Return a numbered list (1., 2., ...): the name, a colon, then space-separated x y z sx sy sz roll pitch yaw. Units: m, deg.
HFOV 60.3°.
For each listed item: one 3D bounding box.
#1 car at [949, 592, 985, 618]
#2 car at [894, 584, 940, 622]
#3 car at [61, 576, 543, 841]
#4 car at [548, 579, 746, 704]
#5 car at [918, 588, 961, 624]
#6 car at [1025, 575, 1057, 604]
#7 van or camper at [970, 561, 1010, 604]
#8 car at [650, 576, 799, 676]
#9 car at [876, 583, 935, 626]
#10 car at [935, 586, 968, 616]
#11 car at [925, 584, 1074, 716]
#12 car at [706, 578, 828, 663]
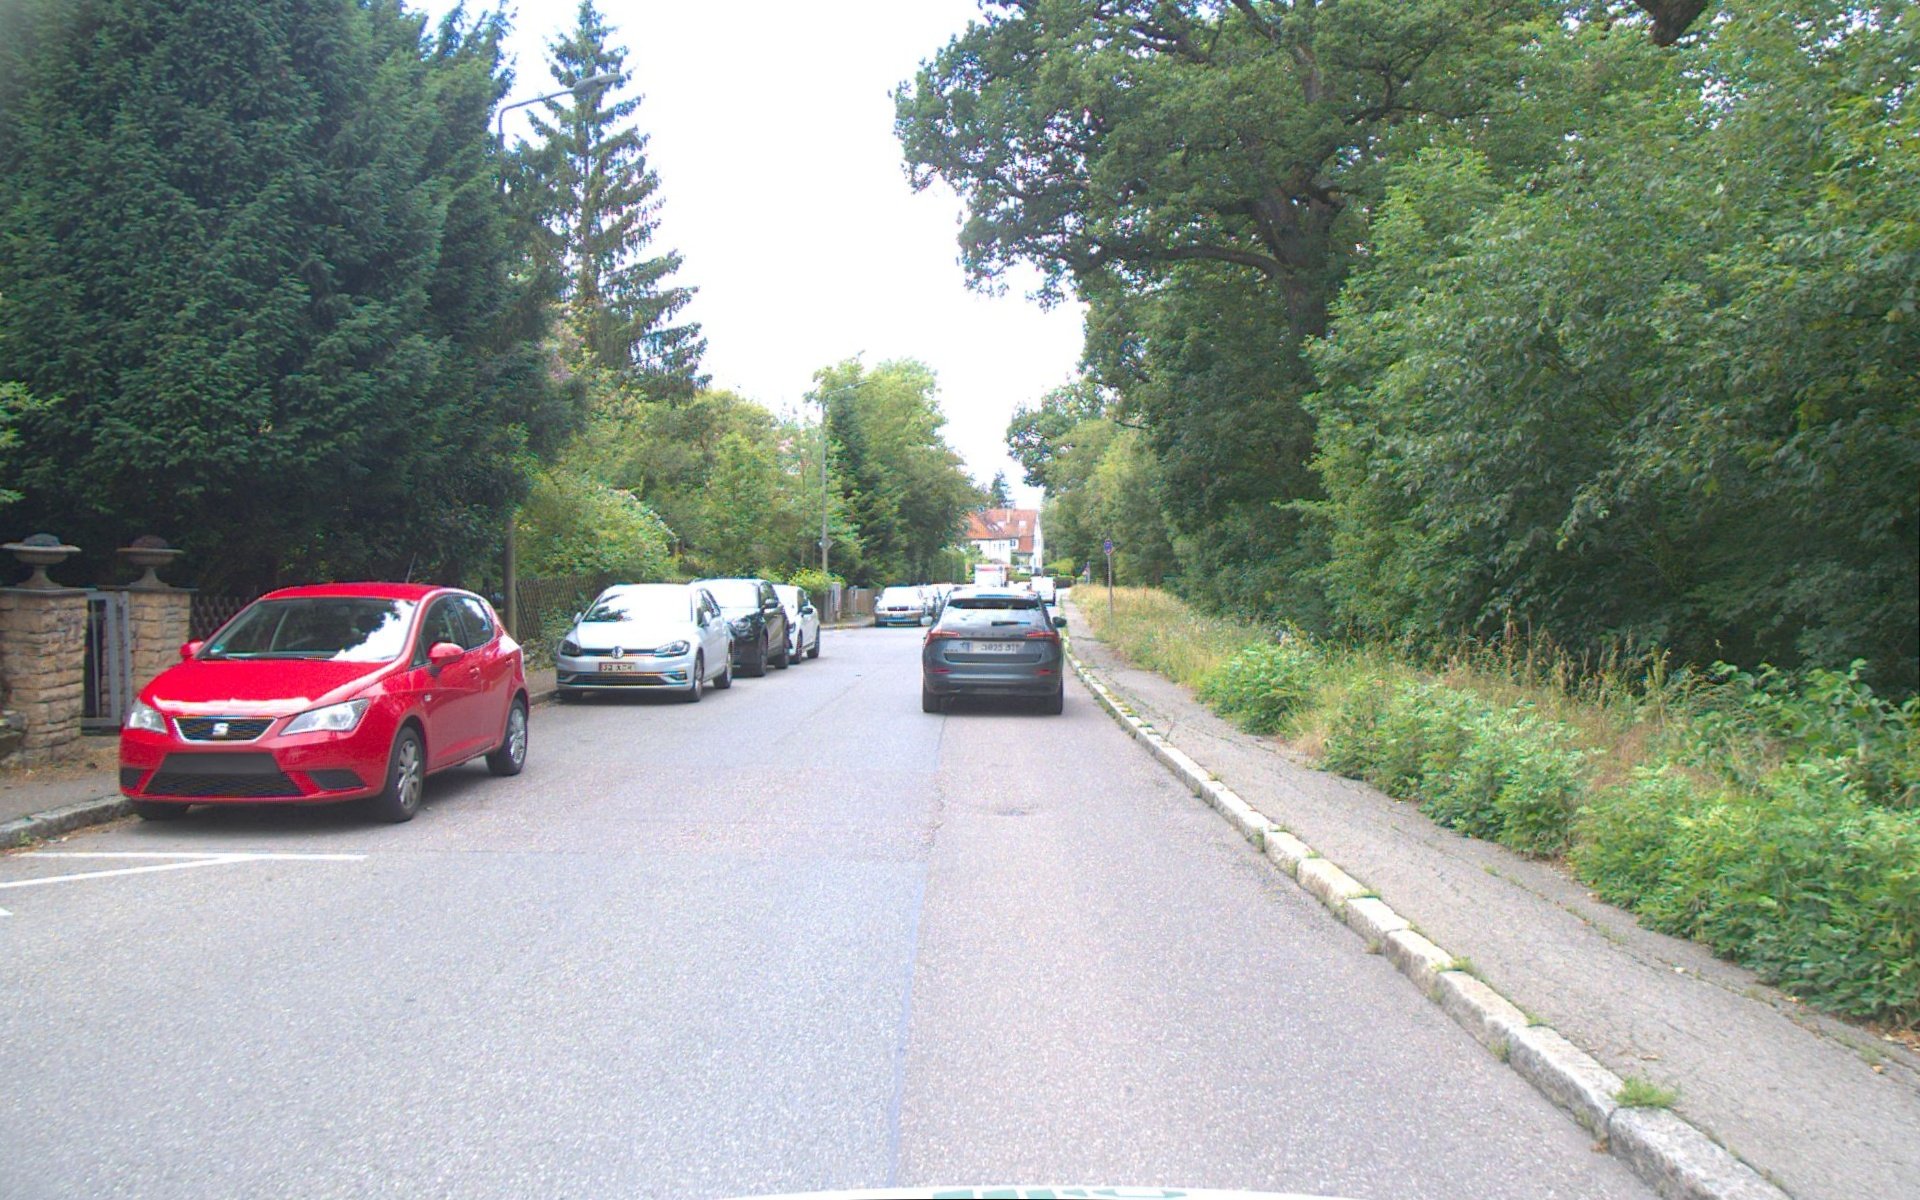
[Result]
1. car: 0.483 0.293 102.316 1.760 1.531 4.866 -2 0 5
2. car: -1.693 0.100 66.331 1.698 1.464 4.263 -1 0 0
3. car: -4.162 0.580 11.158 1.701 1.464 3.788 1 1 0
4. car: -4.020 0.467 21.921 1.747 1.464 4.324 1 1 0
5. car: -0.961 0.250 79.080 1.877 1.589 4.604 -2 1 1
6. car: 5.693 -0.778 116.429 2.029 1.955 4.923 1 1 0
7. van or camper: 2.119 -1.254 117.984 2.407 2.945 7.165 -1 0 -2
8. car: -3.824 0.379 27.468 1.746 1.526 4.016 1 1 2
9. car: -1.936 0.148 60.103 1.810 1.464 4.911 -1 0 2
10. car: -0.484 0.067 89.808 1.685 1.531 4.007 -2 0 -1
11. car: 0.470 0.547 21.054 1.692 1.464 4.324 1 1 0
12. car: -3.668 0.355 32.017 1.746 1.526 4.016 1 1 2
